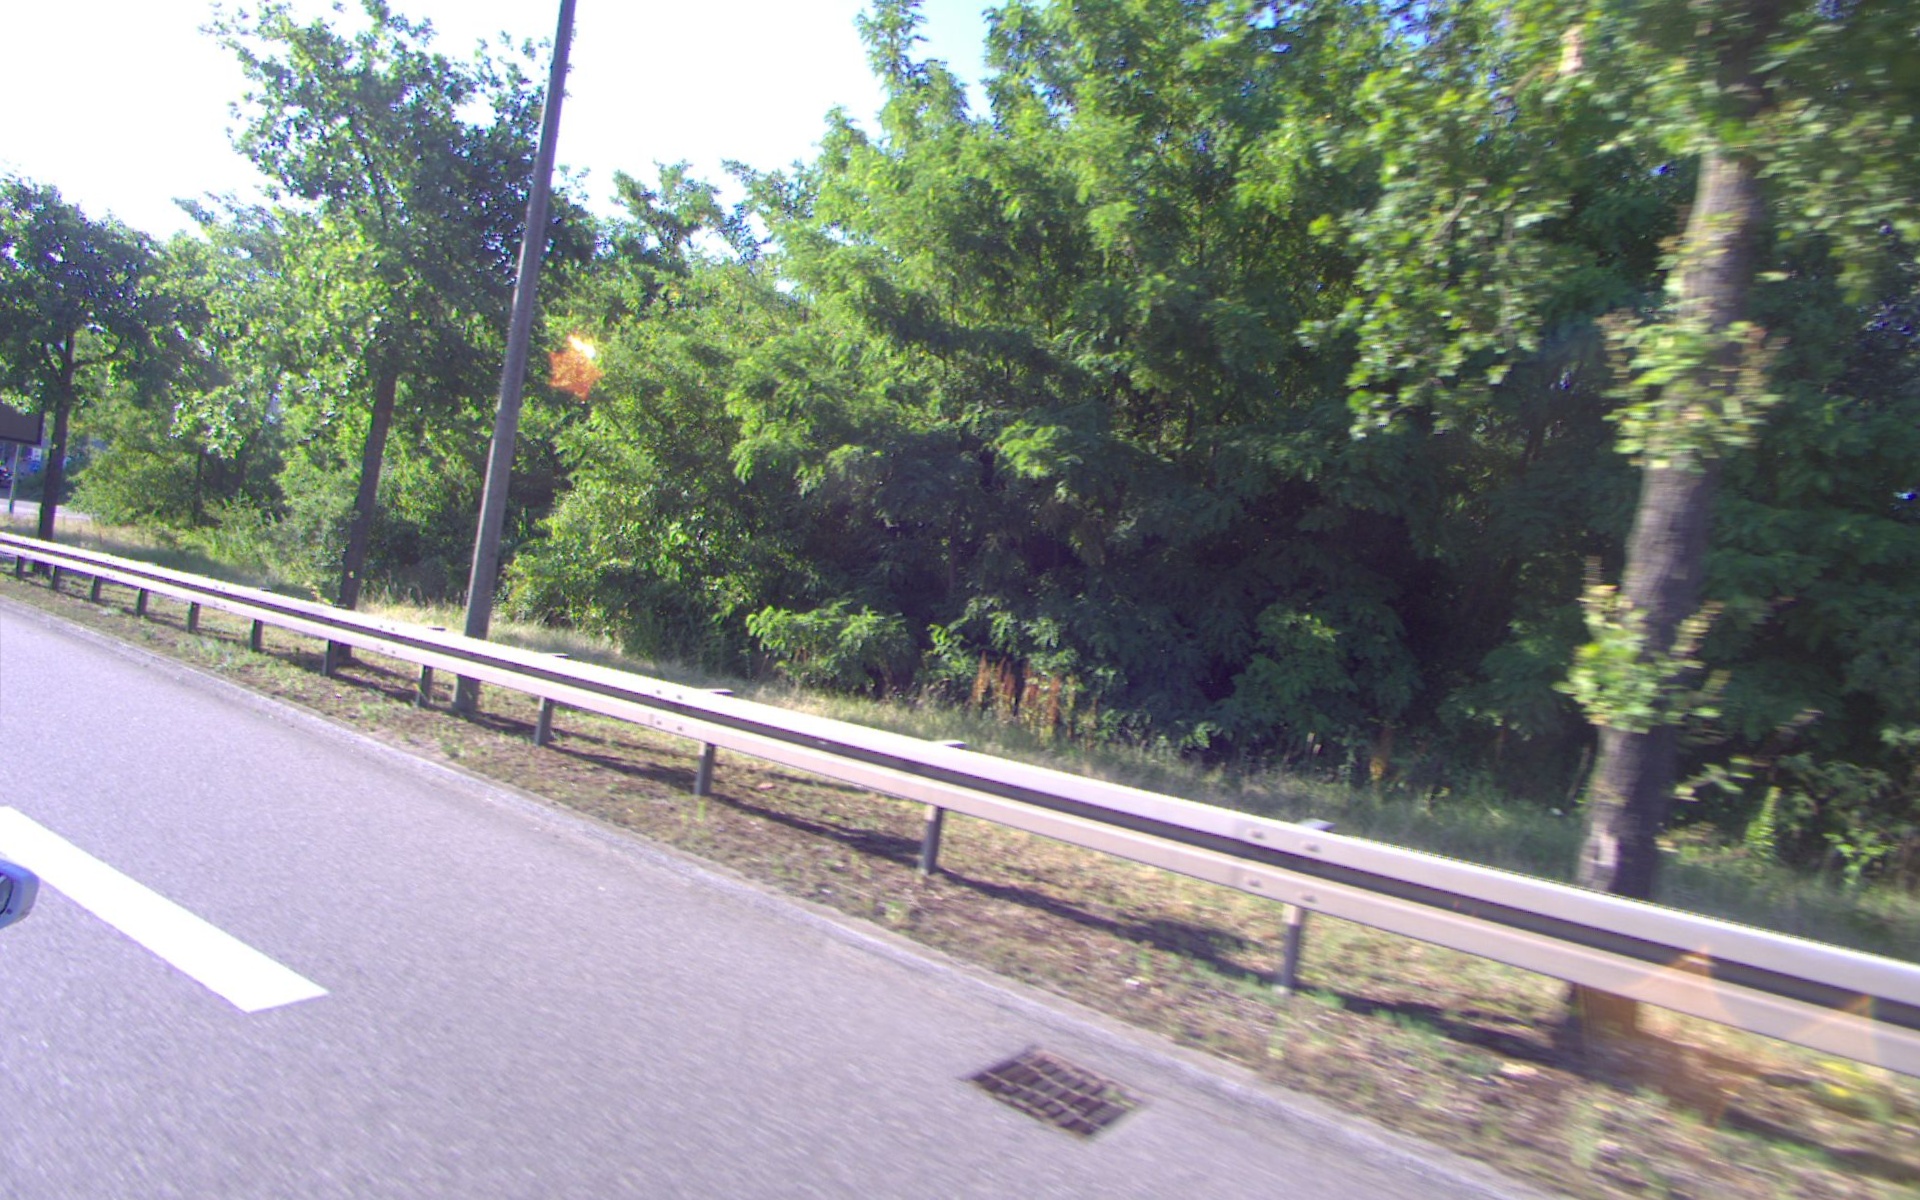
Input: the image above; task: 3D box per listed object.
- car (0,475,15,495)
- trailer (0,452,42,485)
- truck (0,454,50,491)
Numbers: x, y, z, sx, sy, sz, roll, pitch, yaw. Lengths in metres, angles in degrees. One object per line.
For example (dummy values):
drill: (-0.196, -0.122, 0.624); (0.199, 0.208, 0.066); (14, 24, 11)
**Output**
car: (-78.611, -9.509, 81.594); (1.757, 1.513, 3.805); (8, 0, -27)
trailer: (-88.721, -12.388, 94.877); (1.847, 2.495, 3.808); (8, 0, -25)
truck: (-82.291, -11.161, 88.395); (2.095, 2.549, 4.370); (8, -1, -28)
